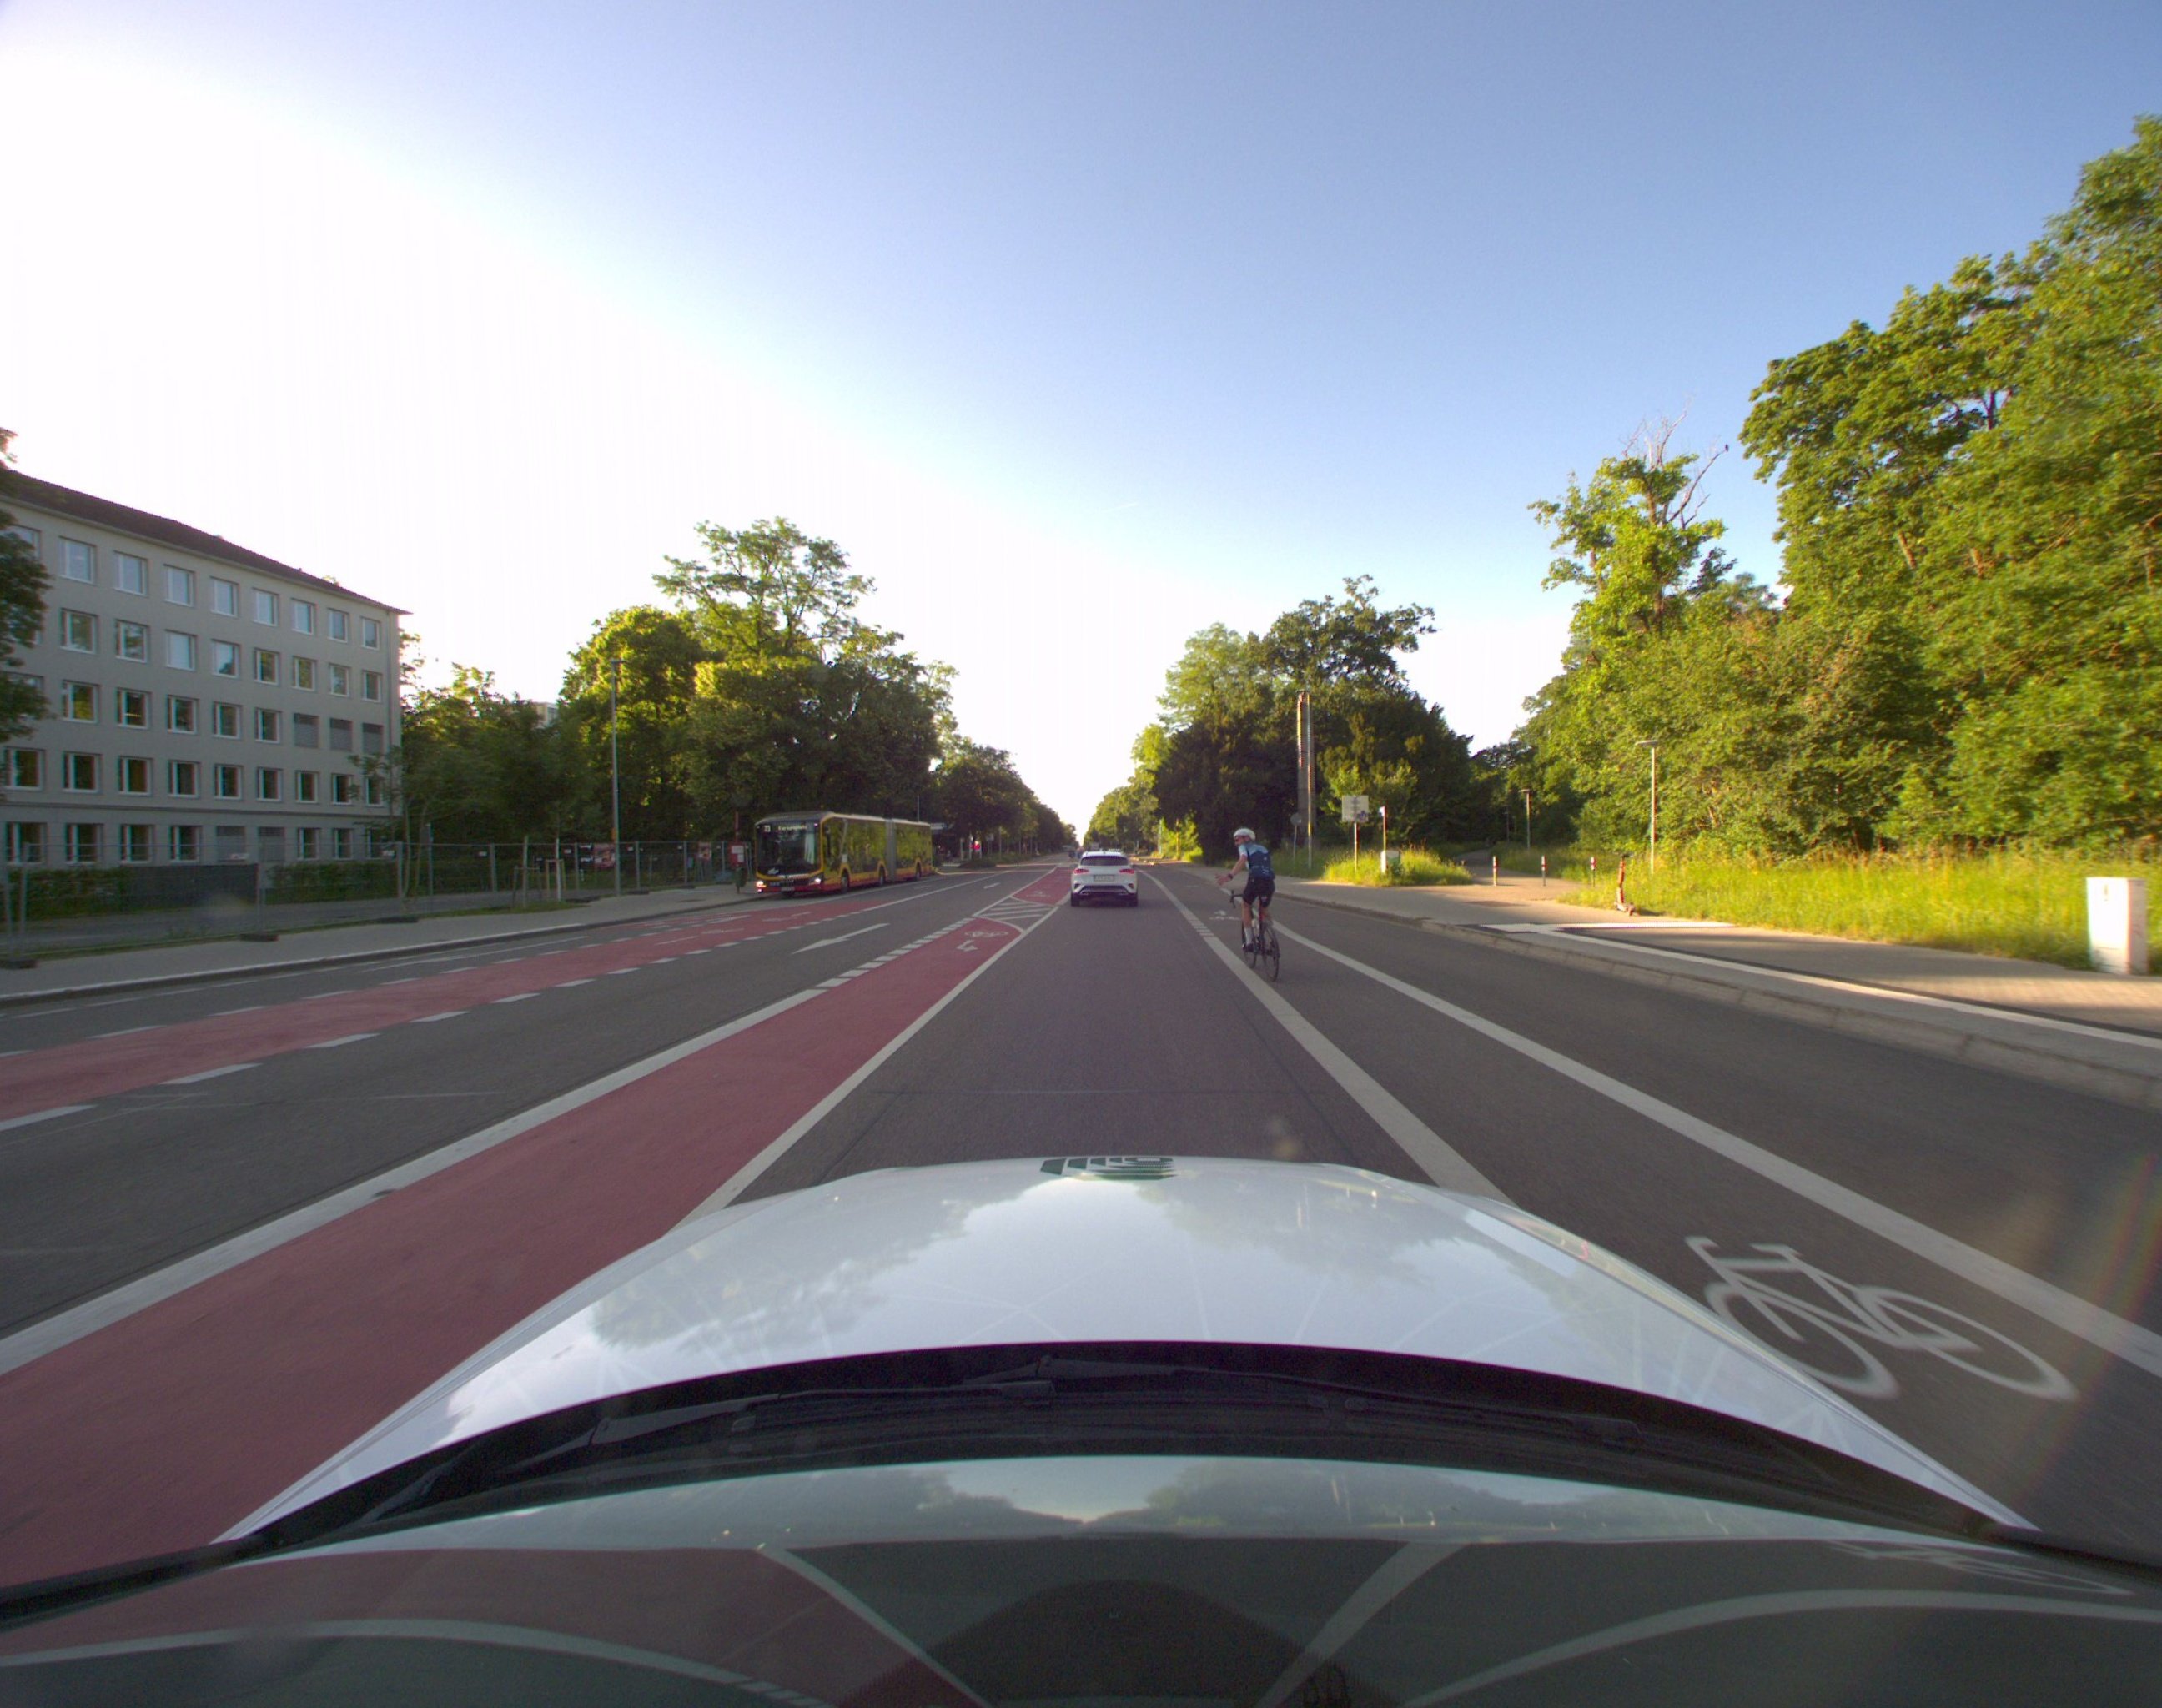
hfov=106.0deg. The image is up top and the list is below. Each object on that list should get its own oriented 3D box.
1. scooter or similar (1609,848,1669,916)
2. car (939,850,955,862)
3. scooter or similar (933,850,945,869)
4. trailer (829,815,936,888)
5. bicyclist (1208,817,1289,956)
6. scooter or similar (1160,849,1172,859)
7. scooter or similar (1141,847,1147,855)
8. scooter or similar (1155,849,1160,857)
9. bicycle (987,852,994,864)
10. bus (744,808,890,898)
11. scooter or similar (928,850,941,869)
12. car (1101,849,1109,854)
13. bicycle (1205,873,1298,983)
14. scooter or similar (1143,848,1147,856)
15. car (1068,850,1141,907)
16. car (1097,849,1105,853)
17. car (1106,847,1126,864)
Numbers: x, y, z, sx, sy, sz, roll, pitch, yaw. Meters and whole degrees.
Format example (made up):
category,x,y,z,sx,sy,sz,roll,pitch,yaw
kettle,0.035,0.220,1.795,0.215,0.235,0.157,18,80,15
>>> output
category,x,y,z,sx,sy,sz,roll,pitch,yaw
scooter or similar,10.831,0.514,15.847,0.715,1.247,1.335,-1,0,24
car,-19.125,0.293,116.260,1.707,1.691,4.448,-1,0,-3
scooter or similar,-13.604,0.506,78.089,0.824,1.717,1.741,-1,0,1
trailer,-10.130,-0.139,42.816,2.843,3.355,9.370,1,0,3
bicyclist,1.968,0.365,9.665,0.855,1.567,0.882,0,0,6
scooter or similar,10.453,0.001,99.728,1.550,1.250,0.528,-1,0,-43
scooter or similar,11.357,-0.459,147.301,0.683,1.423,1.674,-1,0,-13
scooter or similar,11.011,-0.158,117.581,0.531,1.250,1.541,-1,0,1
bicycle,-10.197,0.460,91.891,0.653,1.250,2.156,-1,0,-4
bus,-10.600,-0.053,33.842,2.829,3.196,8.605,-1,0,2
scooter or similar,-13.695,0.510,76.146,0.824,1.717,1.741,-1,0,1
car,6.736,-0.830,225.778,1.987,1.327,3.999,-1,0,0
bicycle,1.997,0.816,9.822,0.886,1.095,2.140,0,1,6
scooter or similar,11.249,-0.425,143.349,0.680,1.423,1.681,-1,0,0
car,0.587,0.622,23.100,1.757,1.459,3.813,0,0,-3
car,5.819,-0.917,241.476,1.989,1.327,3.996,-1,0,-3
car,3.164,0.125,73.169,1.669,1.417,3.578,-2,0,4
